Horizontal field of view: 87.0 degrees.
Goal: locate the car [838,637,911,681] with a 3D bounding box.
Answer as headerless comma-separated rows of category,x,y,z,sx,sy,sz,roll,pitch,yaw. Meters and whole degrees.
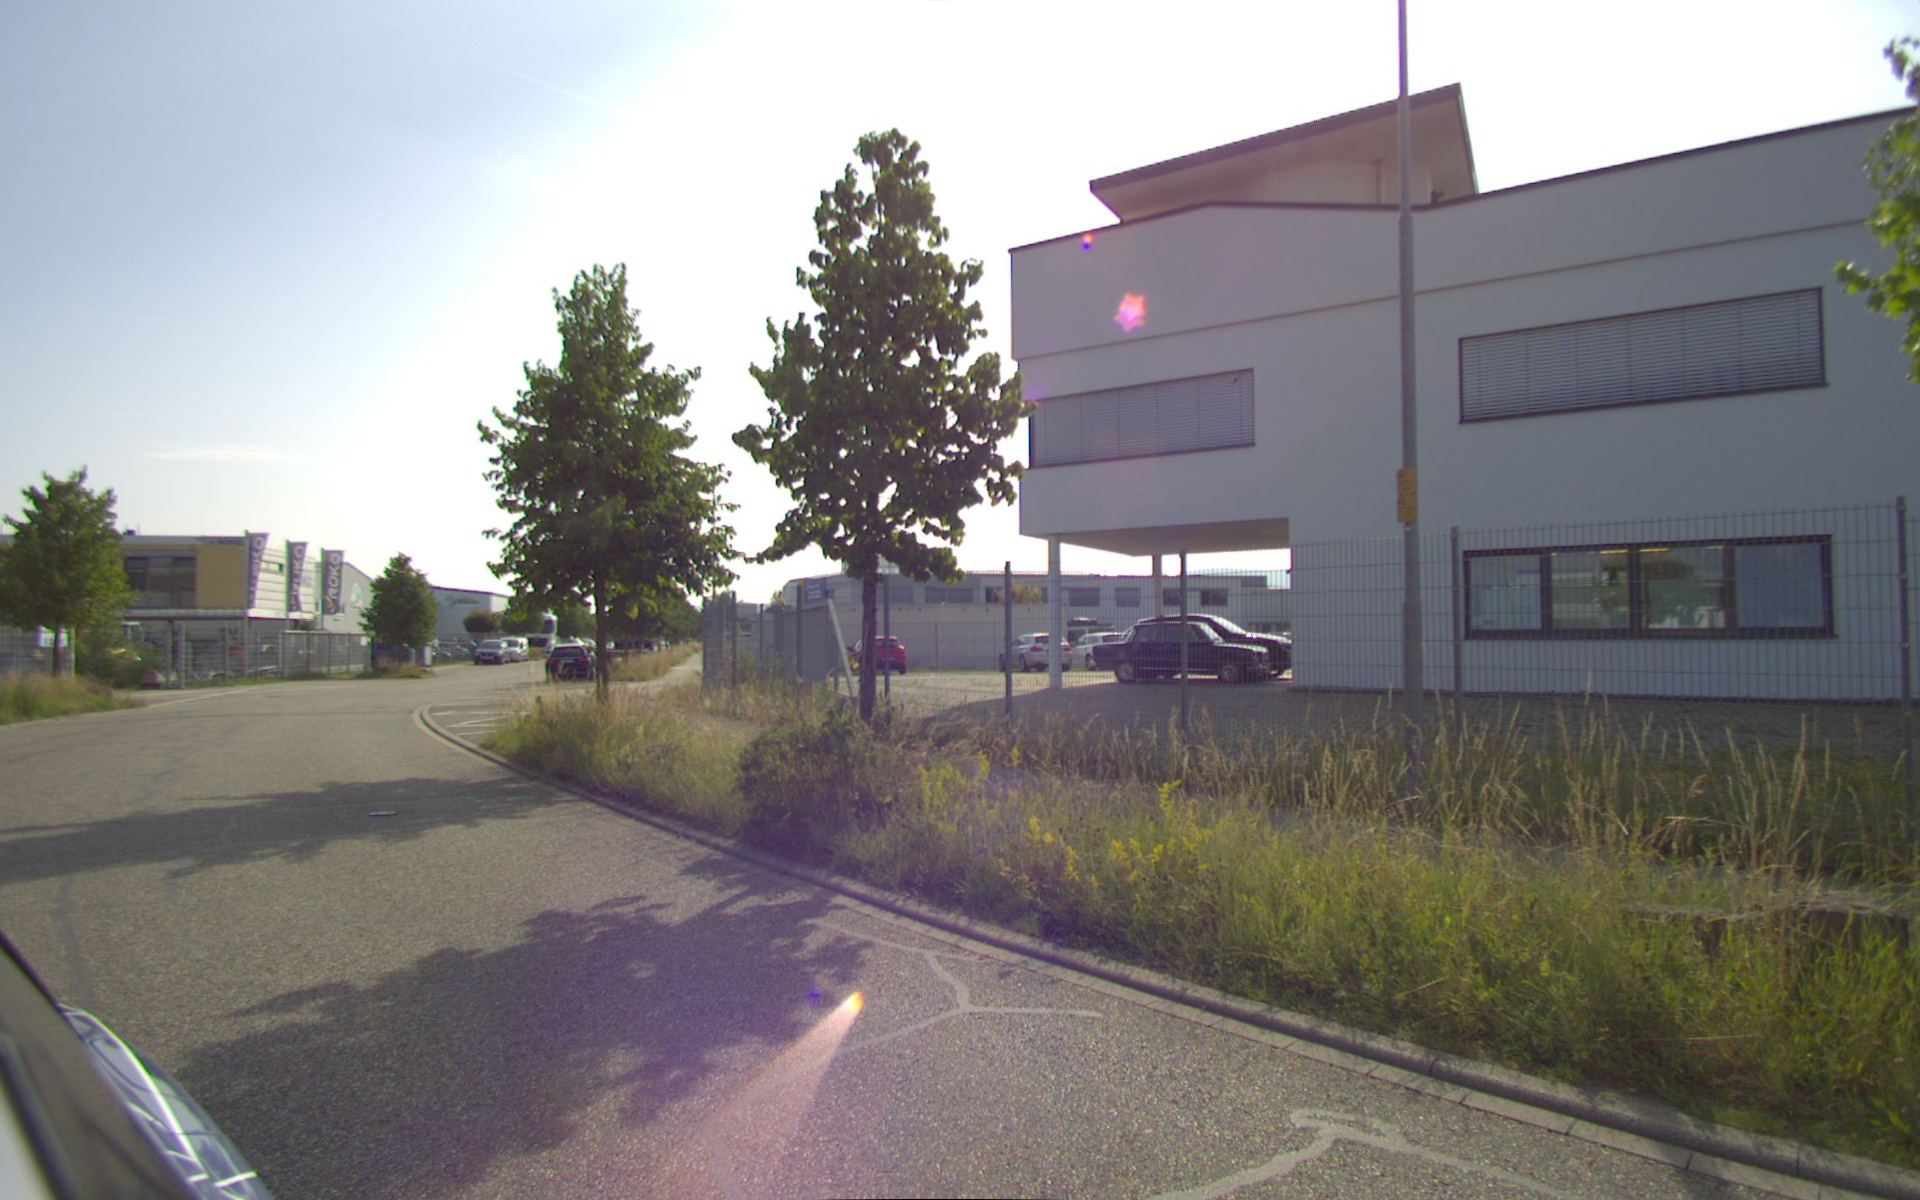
car,-3.315,2.247,38.414,1.745,1.537,4.317,0,-4,-19

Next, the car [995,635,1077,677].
car,2.874,2.184,39.393,1.808,1.506,4.489,0,-3,-14

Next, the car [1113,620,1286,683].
car,6.179,1.332,26.214,3.987,1.499,1.849,-2,-3,32

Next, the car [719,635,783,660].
car,-15.700,3.559,76.103,4.641,1.850,2.108,0,-2,-13

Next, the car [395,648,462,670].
car,-37.967,4.177,72.372,3.931,1.381,1.796,-2,-2,-18

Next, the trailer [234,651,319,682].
trailer,-33.517,3.243,49.783,1.967,1.320,4.575,0,-1,-13

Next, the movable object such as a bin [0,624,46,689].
movable object such as a bin,-38.198,2.160,38.431,2.883,2.511,5.352,0,-2,-13

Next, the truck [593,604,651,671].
truck,-21.635,2.356,65.177,2.422,3.911,9.826,-2,-1,-13

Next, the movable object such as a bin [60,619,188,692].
movable object such as a bin,-33.777,2.206,41.114,1.861,2.773,5.172,0,-2,-13

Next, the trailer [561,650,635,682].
trailer,-16.259,2.932,45.817,2.102,1.242,7.173,-2,-2,-11

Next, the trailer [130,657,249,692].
trailer,-30.757,2.929,40.583,2.097,1.253,4.808,0,-3,-15

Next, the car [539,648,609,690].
car,-15.160,2.676,39.978,1.967,1.478,4.443,-2,-3,-13

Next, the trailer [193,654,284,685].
trailer,-32.189,3.082,45.277,1.917,1.253,4.305,0,-3,-15

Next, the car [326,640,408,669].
car,-36.986,3.387,63.212,4.165,1.751,1.905,0,-2,-21

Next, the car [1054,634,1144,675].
car,5.402,2.159,39.897,1.909,1.506,4.489,0,-3,-14

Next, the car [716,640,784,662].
car,-15.194,3.677,73.196,4.662,1.442,2.005,0,-2,-15

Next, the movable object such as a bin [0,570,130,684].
movable object such as a bin,-42.167,1.317,46.505,3.271,4.843,7.694,0,-3,-15

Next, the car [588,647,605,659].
car,-47.064,6.800,130.993,1.641,1.515,3.550,2,-3,-14

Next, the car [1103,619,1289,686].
car,5.440,1.211,23.472,3.908,1.426,1.546,-2,-3,32

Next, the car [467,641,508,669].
car,-32.150,3.703,68.941,1.801,1.733,4.260,0,-2,-15

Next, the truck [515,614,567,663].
truck,-37.046,3.500,89.744,2.708,4.046,9.711,2,-3,-14

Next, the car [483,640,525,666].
car,-33.168,3.828,73.738,1.967,1.803,4.611,0,-2,-13
